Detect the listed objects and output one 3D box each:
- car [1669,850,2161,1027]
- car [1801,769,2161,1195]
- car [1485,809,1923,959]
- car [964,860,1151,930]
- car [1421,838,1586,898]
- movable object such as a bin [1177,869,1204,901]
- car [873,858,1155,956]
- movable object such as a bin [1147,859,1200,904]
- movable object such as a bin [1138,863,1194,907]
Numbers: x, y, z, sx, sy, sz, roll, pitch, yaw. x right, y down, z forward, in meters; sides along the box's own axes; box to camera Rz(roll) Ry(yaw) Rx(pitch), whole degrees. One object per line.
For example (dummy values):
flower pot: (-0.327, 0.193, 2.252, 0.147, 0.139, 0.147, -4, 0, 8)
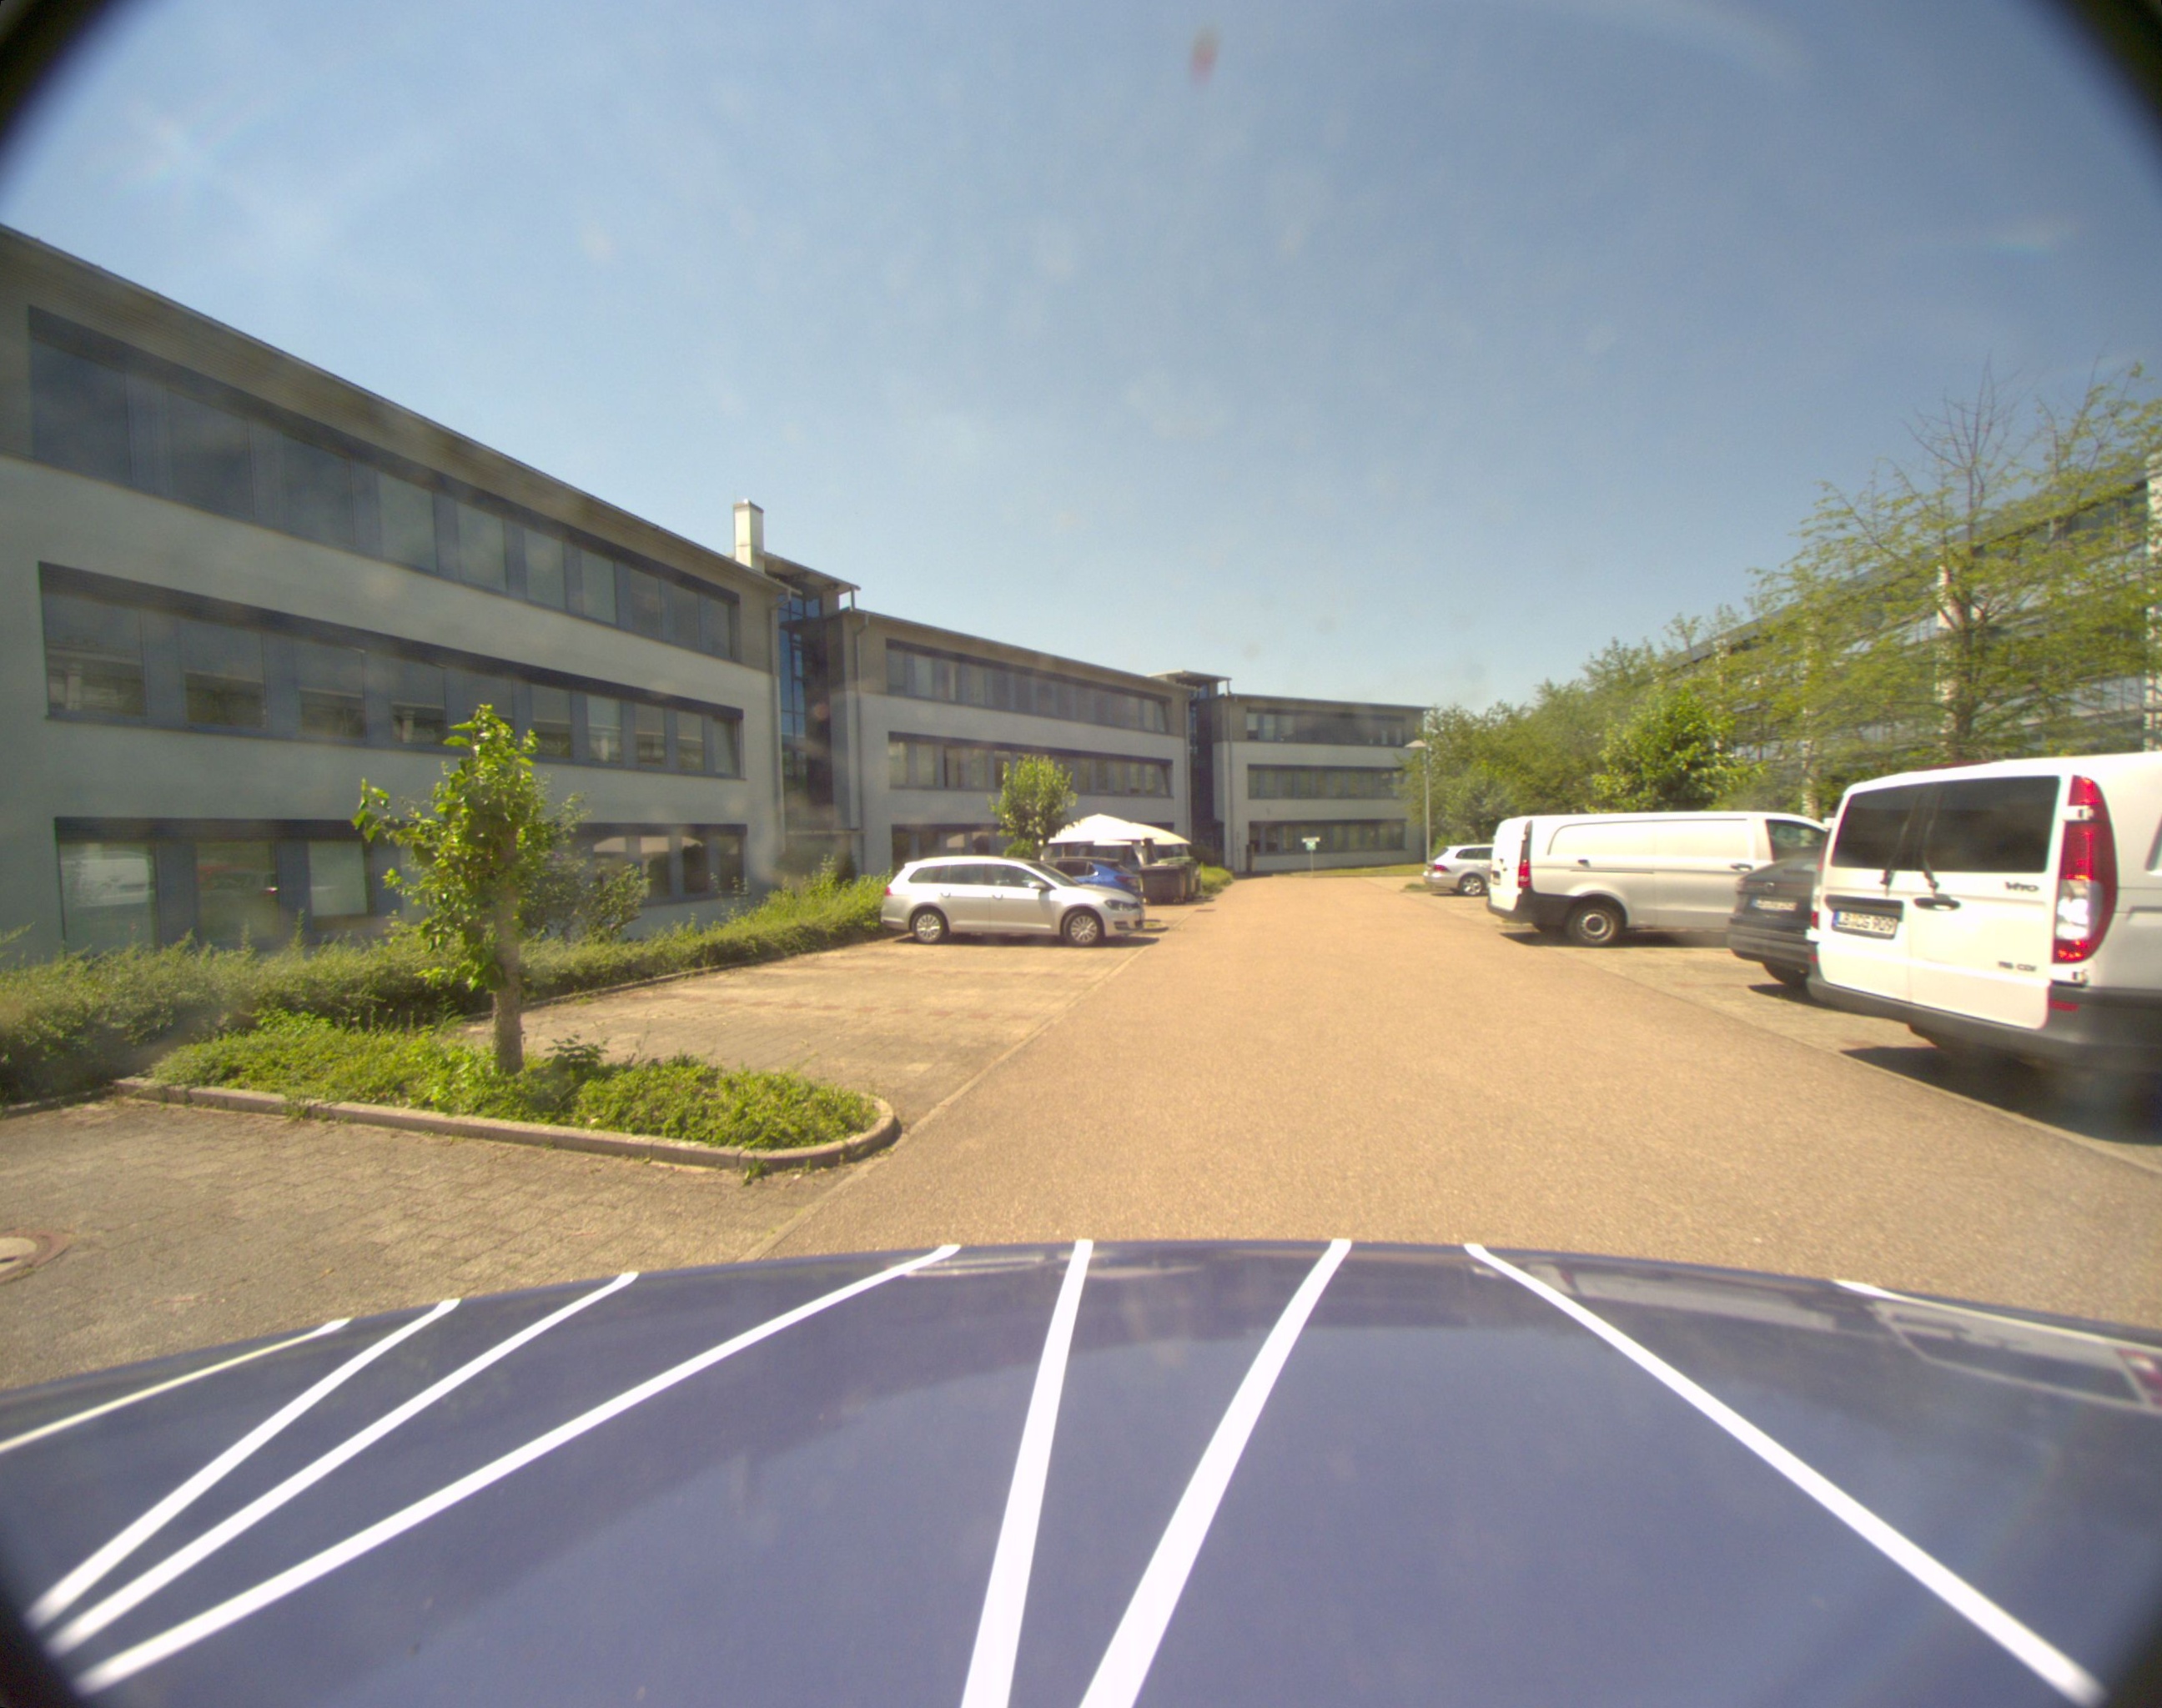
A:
car: (8.106, 0.715, 7.086, 3.845, 1.385, 1.578, -1, 1, 13)
car: (7.033, 0.508, 3.788, 4.727, 1.895, 1.831, -1, 1, 13)
car: (8.545, 0.413, 10.906, 4.512, 1.871, 1.831, -1, 1, 13)
car: (-0.475, 0.844, 16.760, 3.820, 1.384, 1.653, 0, 1, 13)
car: (11.803, 0.385, 21.467, 3.759, 1.549, 1.662, -1, 1, 13)
movable object such as a bin: (3.375, 0.938, 23.395, 0.689, 0.944, 0.723, -1, 1, 19)
car: (-1.089, 0.841, 13.216, 4.512, 1.489, 1.831, 0, 1, 13)
movable object such as a bin: (2.769, 0.810, 22.622, 1.362, 1.288, 1.044, -1, 1, 19)
movable object such as a bin: (2.417, 0.878, 21.616, 1.362, 1.183, 0.998, -1, 1, 19)
